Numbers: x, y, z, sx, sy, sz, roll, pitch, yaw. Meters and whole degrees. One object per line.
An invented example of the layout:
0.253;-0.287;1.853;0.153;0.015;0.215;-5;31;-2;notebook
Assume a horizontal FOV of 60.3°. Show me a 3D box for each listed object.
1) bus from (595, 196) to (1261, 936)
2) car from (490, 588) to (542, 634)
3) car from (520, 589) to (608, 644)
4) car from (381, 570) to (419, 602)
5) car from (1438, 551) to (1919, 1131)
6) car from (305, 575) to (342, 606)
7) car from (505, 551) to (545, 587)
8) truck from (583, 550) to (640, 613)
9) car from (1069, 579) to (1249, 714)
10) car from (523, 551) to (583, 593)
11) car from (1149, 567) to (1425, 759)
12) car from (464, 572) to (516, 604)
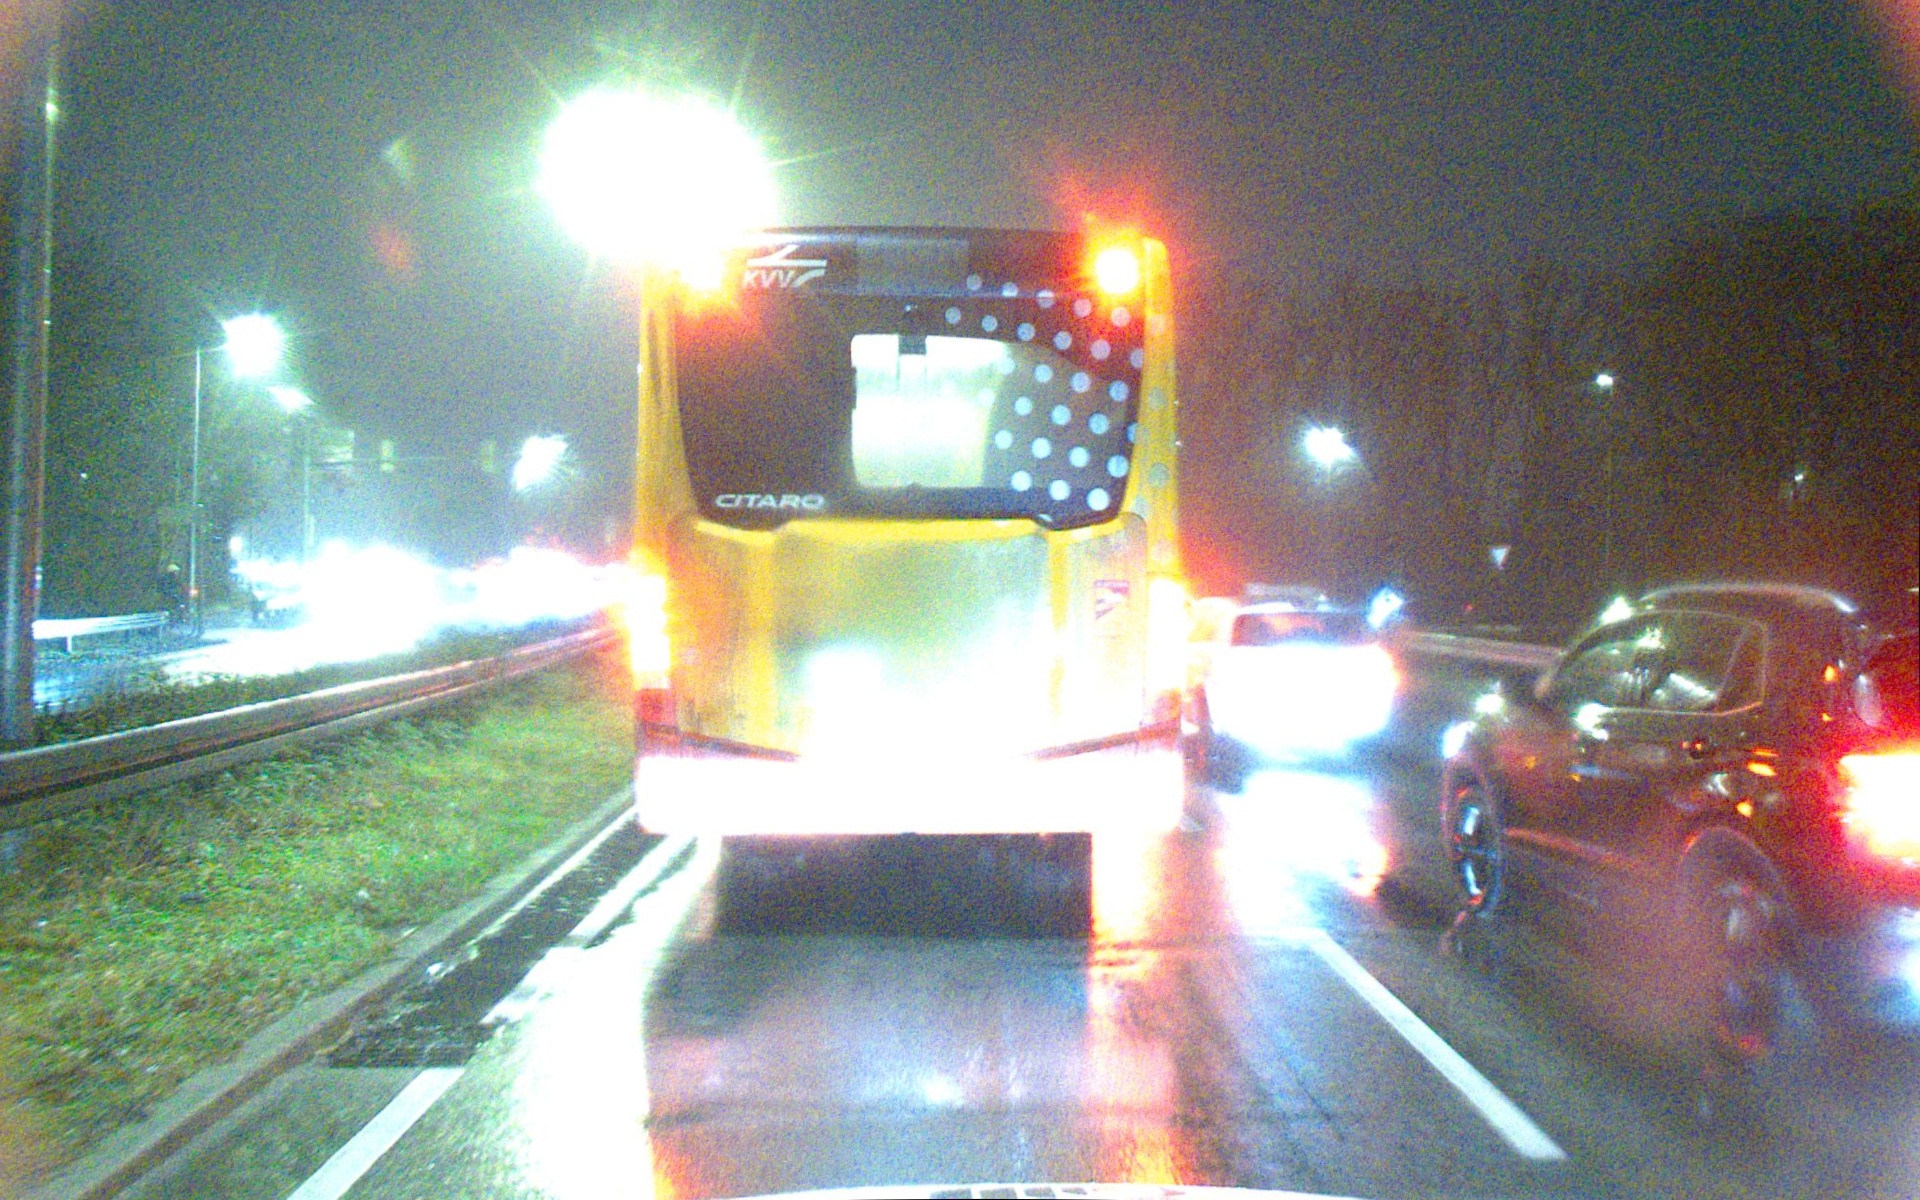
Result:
-0.182;-0.154;11.418;2.758;3.077;8.686;2;0;-1;bus
-20.657;0.484;76.825;1.964;2.049;3.976;1;0;-20;car
-11.485;0.450;48.169;1.955;1.512;3.995;1;0;-6;car
-37.063;-0.908;109.451;2.180;2.049;3.974;1;0;-21;car
3.350;0.683;6.469;1.704;1.592;3.775;2;0;-2;car
-35.437;-0.554;92.090;1.763;1.675;3.971;1;0;-24;car
-26.679;-1.891;101.646;2.084;2.049;3.988;2;0;-12;car
-14.645;-0.831;69.380;1.827;2.434;4.755;-1;3;-18;truck
2.534;0.553;21.858;1.783;1.618;3.775;1;0;-2;car
-21.089;-1.453;85.616;1.972;2.049;3.960;3;-1;-30;car
3.004;0.532;15.972;1.783;1.618;3.775;1;0;-2;car
-25.981;-0.687;91.368;1.735;1.659;3.582;3;-1;-33;car
